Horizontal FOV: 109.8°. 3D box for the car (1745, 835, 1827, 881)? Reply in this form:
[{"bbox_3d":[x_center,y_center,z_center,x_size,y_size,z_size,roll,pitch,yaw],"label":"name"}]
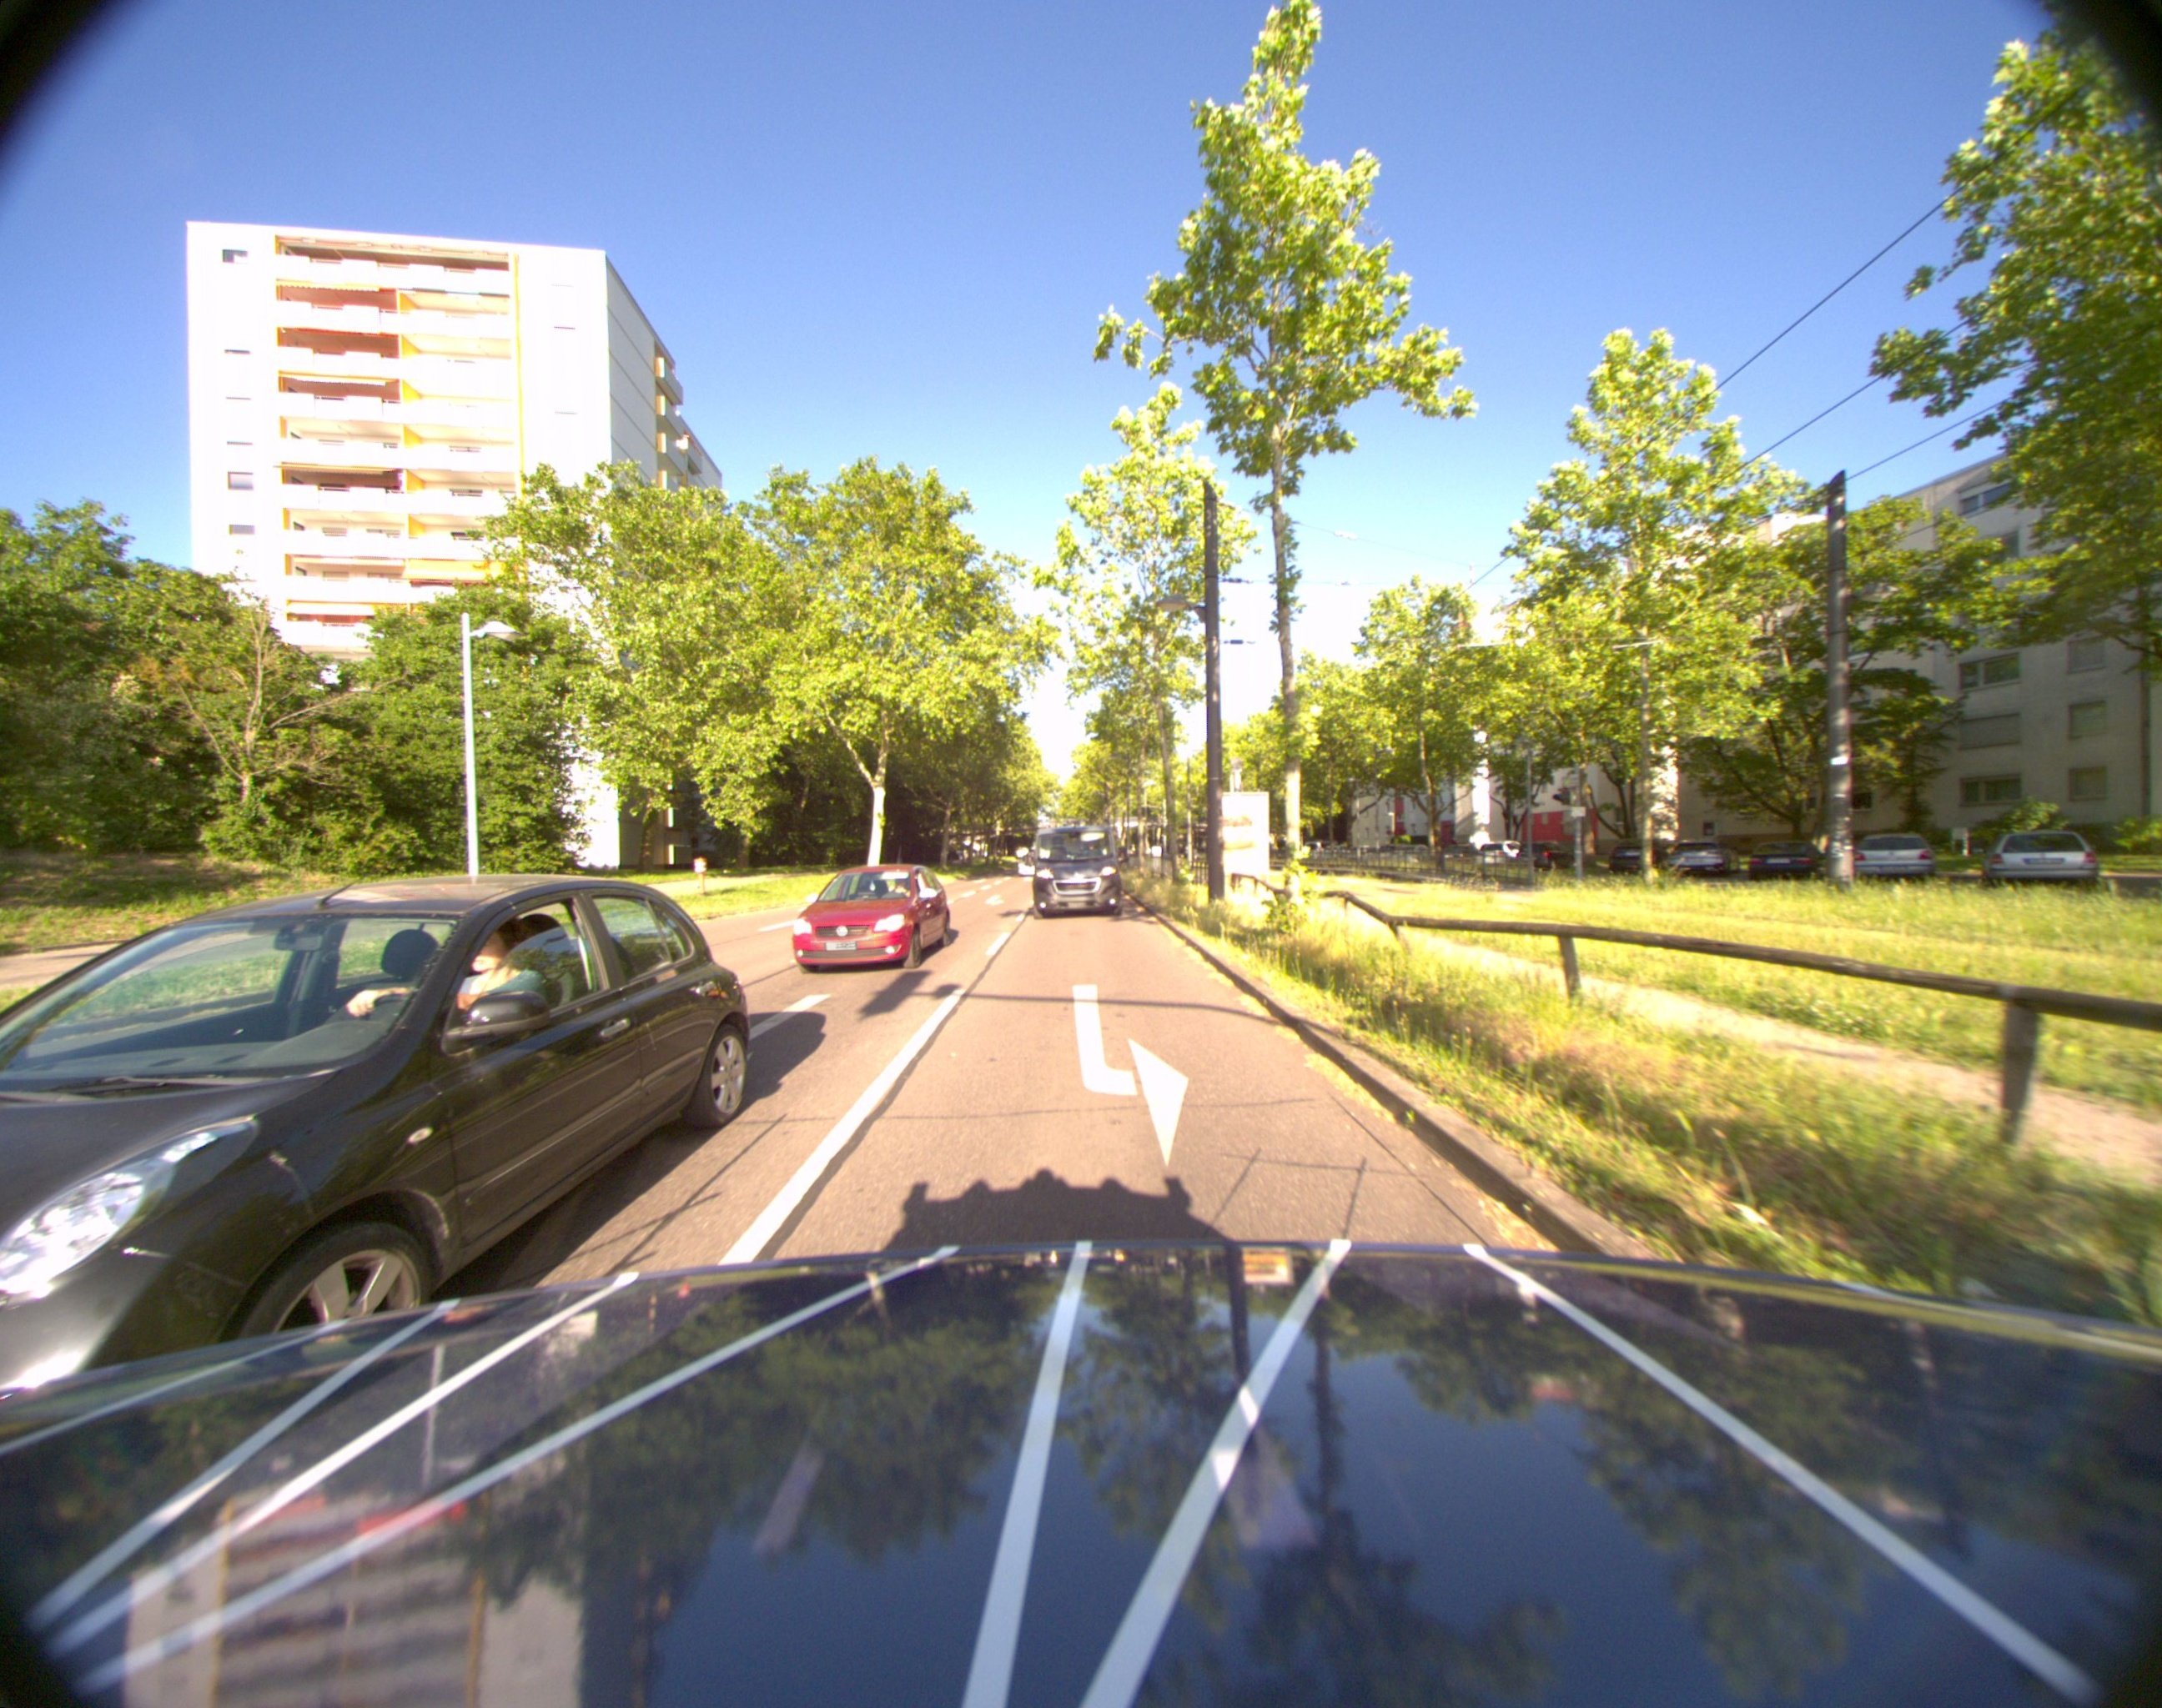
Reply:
[{"bbox_3d":[23.984,0.110,25.789,4.057,1.380,1.673,-2,0,-42],"label":"car"}]

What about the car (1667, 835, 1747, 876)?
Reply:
[{"bbox_3d":[24.117,0.040,29.219,4.057,1.380,1.791,-2,0,-42],"label":"car"}]

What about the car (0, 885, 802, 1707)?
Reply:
[{"bbox_3d":[-2.867,0.995,3.162,1.739,1.474,4.621,-2,0,-1],"label":"car"}]

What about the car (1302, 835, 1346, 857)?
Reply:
[{"bbox_3d":[23.483,-0.798,73.352,4.440,1.908,2.016,-2,0,-44],"label":"car"}]

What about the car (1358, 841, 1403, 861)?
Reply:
[{"bbox_3d":[24.185,-0.253,61.268,4.057,1.490,1.791,-2,0,-44],"label":"car"}]

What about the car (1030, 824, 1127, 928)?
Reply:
[{"bbox_3d":[-0.119,0.441,19.265,2.040,2.191,5.659,-2,1,-2],"label":"car"}]

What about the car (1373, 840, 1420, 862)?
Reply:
[{"bbox_3d":[24.166,-0.222,58.069,4.057,1.490,1.791,-2,0,-44],"label":"car"}]

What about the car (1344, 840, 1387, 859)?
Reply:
[{"bbox_3d":[23.989,-0.404,64.012,4.057,1.490,1.791,-2,0,-44],"label":"car"}]

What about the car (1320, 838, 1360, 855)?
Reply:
[{"bbox_3d":[24.021,-0.697,70.491,4.057,1.490,1.791,-2,0,-44],"label":"car"}]

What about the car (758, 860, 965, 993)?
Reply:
[{"bbox_3d":[-3.078,0.912,11.782,1.772,1.549,4.726,-2,0,0],"label":"car"}]

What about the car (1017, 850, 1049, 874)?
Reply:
[{"bbox_3d":[-3.337,0.514,52.198,1.914,1.549,4.723,-2,0,-7],"label":"car"}]

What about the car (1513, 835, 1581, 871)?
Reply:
[{"bbox_3d":[24.255,-0.065,39.507,4.057,1.654,1.791,-2,0,-41],"label":"car"}]

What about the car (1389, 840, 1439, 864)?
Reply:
[{"bbox_3d":[23.787,-0.151,54.238,4.057,1.490,1.791,-2,0,-44],"label":"car"}]

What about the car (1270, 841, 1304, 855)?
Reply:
[{"bbox_3d":[23.196,-0.702,85.636,4.057,1.490,1.791,-2,0,-44],"label":"car"}]

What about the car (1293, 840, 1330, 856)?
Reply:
[{"bbox_3d":[23.289,-0.607,76.698,4.057,1.490,1.791,-2,0,-44],"label":"car"}]

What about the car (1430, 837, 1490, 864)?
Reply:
[{"bbox_3d":[23.403,-0.237,46.861,4.057,1.490,1.791,-2,0,-41],"label":"car"}]

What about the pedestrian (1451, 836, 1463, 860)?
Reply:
[{"bbox_3d":[32.157,-0.516,64.967,0.681,2.002,0.645,-2,1,-4],"label":"pedestrian"}]

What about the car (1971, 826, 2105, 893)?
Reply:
[{"bbox_3d":[23.954,0.102,19.158,4.057,1.478,1.810,-2,0,-42],"label":"car"}]

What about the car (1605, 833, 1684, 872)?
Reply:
[{"bbox_3d":[24.010,-0.085,32.333,4.057,1.490,1.791,-2,0,-41],"label":"car"}]

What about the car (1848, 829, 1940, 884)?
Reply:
[{"bbox_3d":[24.499,0.040,22.900,4.057,1.478,1.760,-2,0,-42],"label":"car"}]

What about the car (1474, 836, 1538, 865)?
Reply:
[{"bbox_3d":[24.088,-0.206,43.005,4.057,1.490,1.791,-2,0,-41],"label":"car"}]
